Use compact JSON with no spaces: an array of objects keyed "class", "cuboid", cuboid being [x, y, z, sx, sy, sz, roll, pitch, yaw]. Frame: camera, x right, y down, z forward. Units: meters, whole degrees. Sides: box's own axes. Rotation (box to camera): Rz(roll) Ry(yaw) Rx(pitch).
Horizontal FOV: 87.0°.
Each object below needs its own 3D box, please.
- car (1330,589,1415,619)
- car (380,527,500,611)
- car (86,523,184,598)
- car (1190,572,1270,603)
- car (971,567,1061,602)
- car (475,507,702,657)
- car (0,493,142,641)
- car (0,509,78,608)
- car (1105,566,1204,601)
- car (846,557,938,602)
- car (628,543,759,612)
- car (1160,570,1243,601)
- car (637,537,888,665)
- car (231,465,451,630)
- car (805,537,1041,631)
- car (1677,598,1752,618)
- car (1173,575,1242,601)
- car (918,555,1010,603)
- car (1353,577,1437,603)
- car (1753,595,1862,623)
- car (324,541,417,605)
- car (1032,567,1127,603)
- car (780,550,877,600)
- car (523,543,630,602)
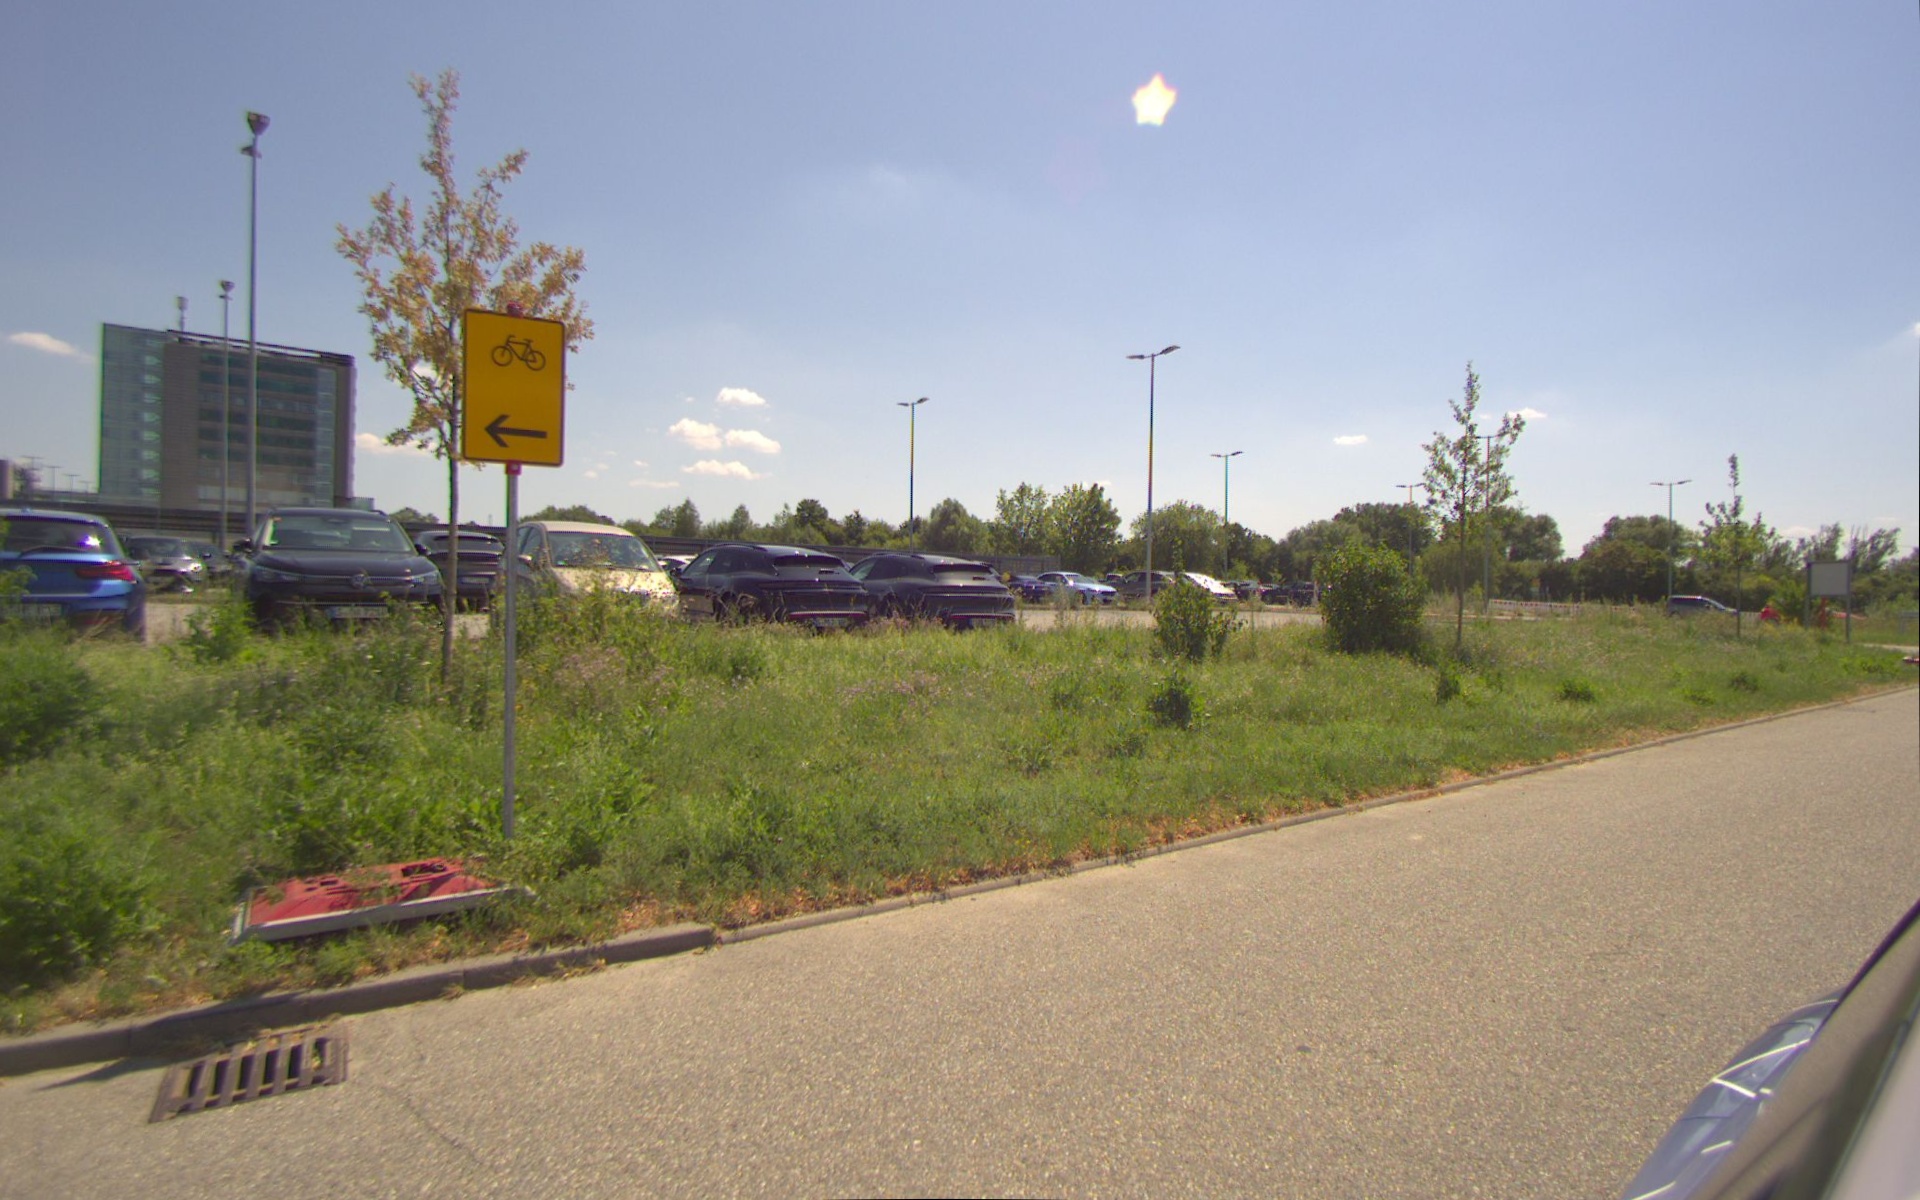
[{"class":"car","cuboid":[22.307,0.191,54.833,1.618,1.368,3.995,0,3,-41]},{"class":"car","cuboid":[-10.842,-0.658,21.019,1.495,1.593,3.416,-1,2,-40]},{"class":"car","cuboid":[-18.265,-0.880,22.480,1.570,1.518,3.637,0,2,-38]},{"class":"car","cuboid":[12.577,-0.596,47.281,1.438,1.238,3.462,1,3,-37]},{"class":"car","cuboid":[2.113,-0.610,38.787,1.529,1.177,3.461,1,3,-37]},{"class":"car","cuboid":[-4.931,-0.279,13.123,1.588,1.644,3.846,0,2,-39]},{"class":"car","cuboid":[-9.390,-0.329,10.315,1.558,1.273,3.942,-2,2,-40]},{"class":"car","cuboid":[-16.939,-0.762,17.981,1.737,1.617,3.638,0,2,-38]},{"class":"car","cuboid":[8.373,-0.728,43.889,1.529,1.313,4.301,1,3,-37]},{"class":"car","cuboid":[-2.406,-0.733,35.395,1.532,1.408,3.438,1,3,-37]},{"class":"car","cuboid":[-6.464,-0.574,24.320,1.737,1.517,3.638,0,2,-38]},{"class":"car","cuboid":[10.824,-0.669,45.558,1.438,1.238,3.462,1,3,-37]},{"class":"car","cuboid":[-3.011,-0.072,14.696,1.782,1.564,4.400,0,2,-38]},{"class":"car","cuboid":[-7.337,-0.464,11.809,1.657,1.448,4.033,0,-3,-39]},{"class":"car","cuboid":[-0.716,-0.215,16.214,1.873,1.308,3.998,-1,0,-36]},{"class":"car","cuboid":[53.265,0.559,71.499,1.618,1.368,3.993,-1,0,-41]},{"class":"car","cuboid":[15.435,-0.740,63.247,1.618,1.486,3.993,-1,0,-41]},{"class":"car","cuboid":[0.095,-0.779,36.847,1.532,1.564,3.438,1,3,-37]},{"class":"car","cuboid":[24.295,-0.532,56.581,1.618,1.368,3.993,-1,0,-41]},{"class":"car","cuboid":[42.687,0.456,51.044,1.618,1.368,3.993,-1,0,-41]},{"class":"car","cuboid":[-15.094,-0.728,25.837,1.570,1.517,3.638,0,2,-38]},{"class":"car","cuboid":[4.814,-0.630,41.199,1.581,1.251,3.849,1,3,-37]},{"class":"car","cuboid":[-4.462,-0.859,34.018,1.532,1.529,3.783,1,3,-37]},{"class":"car","cuboid":[-10.700,-0.794,28.105,1.737,1.517,3.638,0,2,-38]}]
